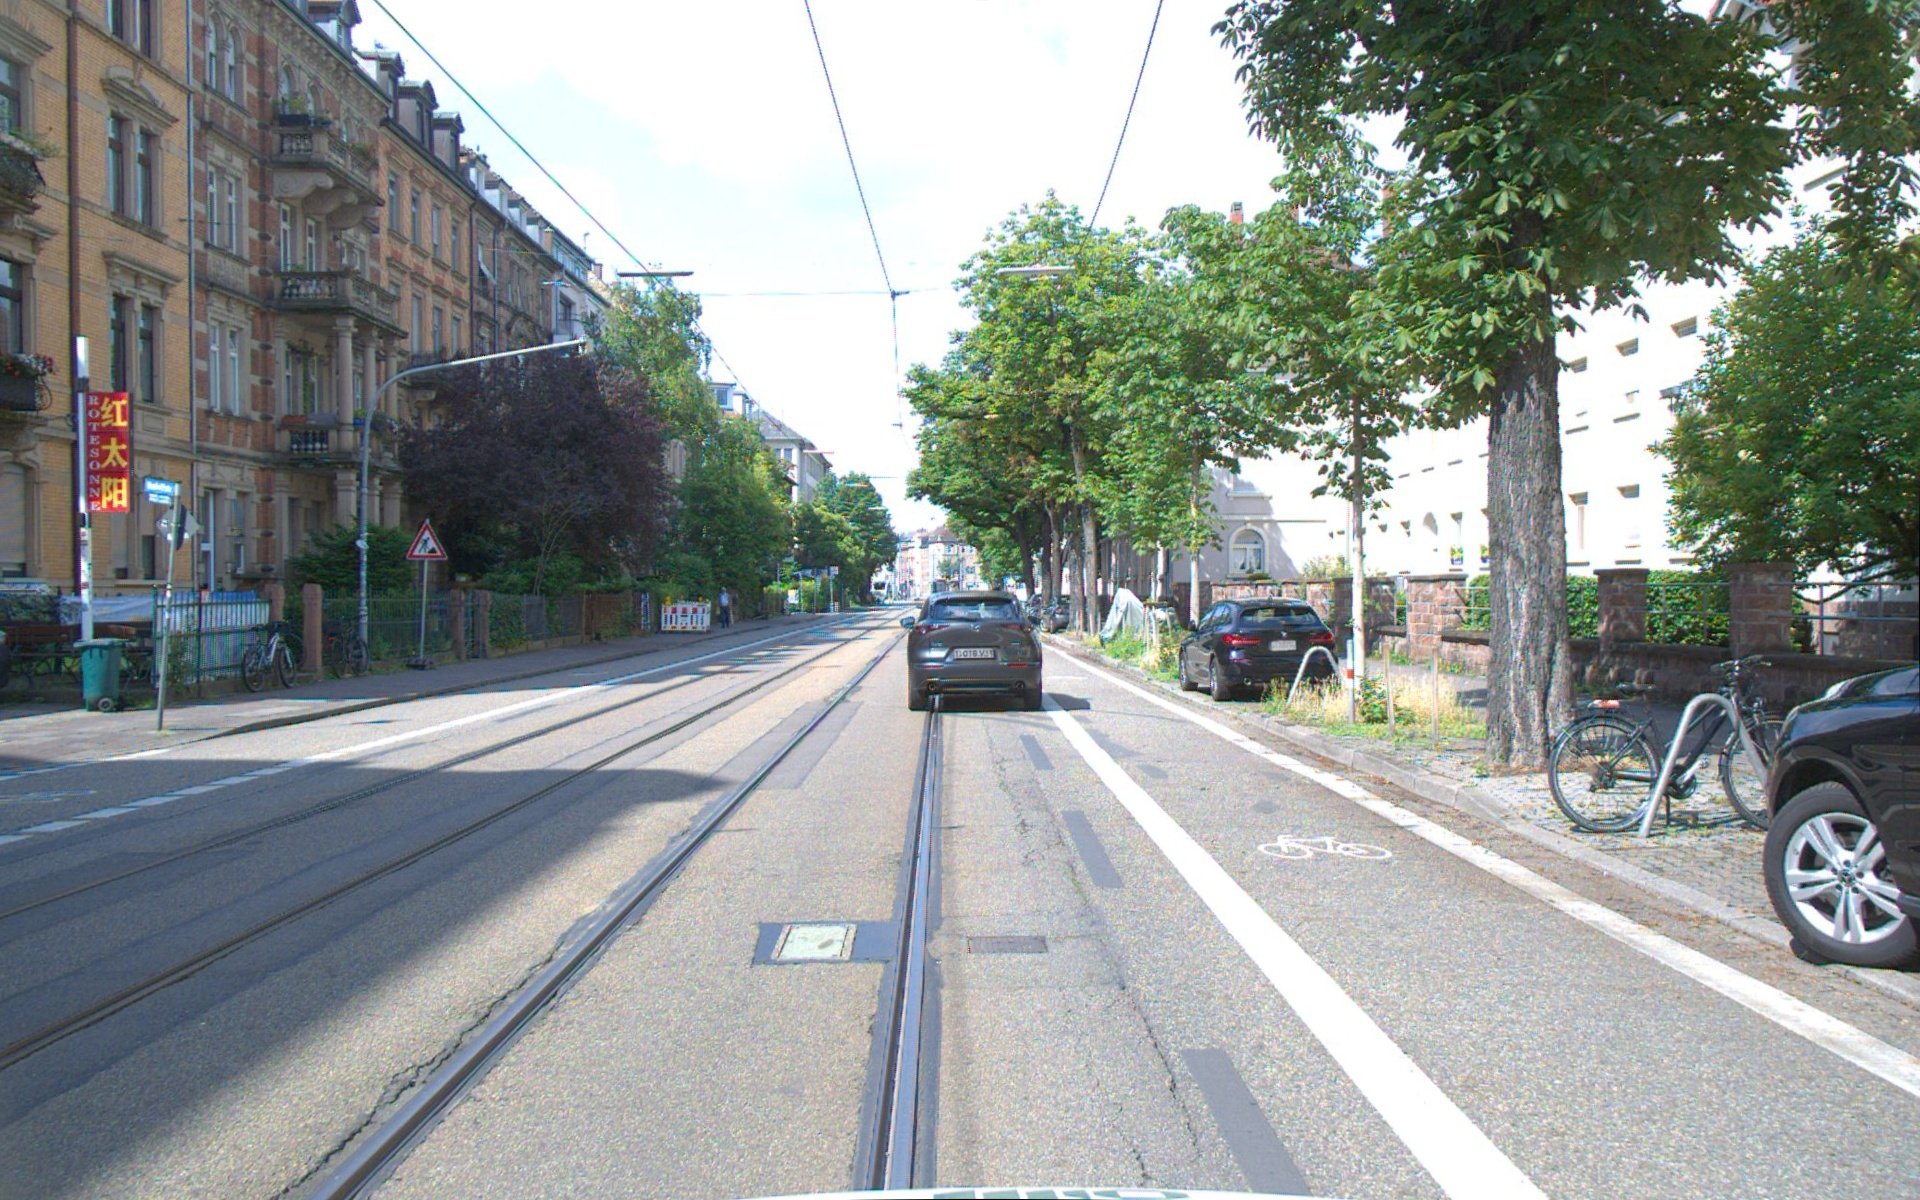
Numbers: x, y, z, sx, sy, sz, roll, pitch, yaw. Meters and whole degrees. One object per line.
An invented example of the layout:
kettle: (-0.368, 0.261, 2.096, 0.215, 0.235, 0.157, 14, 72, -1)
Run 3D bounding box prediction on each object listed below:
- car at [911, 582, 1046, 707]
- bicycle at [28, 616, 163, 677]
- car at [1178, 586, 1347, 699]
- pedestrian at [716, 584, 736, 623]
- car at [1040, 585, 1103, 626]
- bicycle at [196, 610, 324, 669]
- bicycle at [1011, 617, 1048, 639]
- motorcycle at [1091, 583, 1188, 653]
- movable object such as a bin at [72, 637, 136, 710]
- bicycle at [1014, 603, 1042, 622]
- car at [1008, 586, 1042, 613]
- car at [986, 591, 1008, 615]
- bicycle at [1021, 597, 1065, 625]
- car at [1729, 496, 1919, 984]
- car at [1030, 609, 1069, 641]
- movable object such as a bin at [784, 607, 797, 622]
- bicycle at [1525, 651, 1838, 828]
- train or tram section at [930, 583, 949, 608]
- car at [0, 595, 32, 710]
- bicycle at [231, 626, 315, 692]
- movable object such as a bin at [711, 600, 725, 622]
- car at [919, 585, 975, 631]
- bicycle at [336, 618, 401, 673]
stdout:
car: (0.207, 0.552, 22.500, 1.686, 1.553, 3.589, 0, 0, -1)
bicycle: (-14.266, 0.759, 27.317, 1.921, 0.963, 0.532, -1, 0, -1)
car: (4.429, 0.583, 24.771, 1.671, 1.505, 4.196, 2, 0, -1)
pedestrian: (-10.420, 0.144, 73.641, 0.806, 1.736, 0.891, 0, 0, -4)
car: (4.197, 0.218, 63.016, 1.810, 1.434, 4.391, -2, 0, -4)
bicycle: (-11.951, 0.668, 28.267, 1.923, 0.963, 0.531, -1, 0, -6)
bicycle: (3.573, 1.423, 84.678, 1.864, 1.091, 0.402, 0, 0, -1)
motorcycle: (4.380, 0.430, 40.474, 2.341, 1.625, 0.676, 2, 1, 38)
movable object such as a bin: (-11.363, 0.969, 21.970, 0.514, 0.921, 0.636, -1, 0, -2)
bicycle: (3.705, 0.665, 90.203, 1.460, 1.000, 0.259, -1, -1, 1)
car: (4.760, -0.037, 122.429, 1.753, 1.972, 4.984, -1, 0, -7)
car: (3.094, 0.241, 138.943, 1.685, 2.003, 4.207, 0, 0, 0)
bicycle: (3.810, 0.513, 75.936, 1.895, 1.196, 0.513, -2, -1, 11)
car: (4.472, 0.517, 5.254, 1.790, 1.813, 4.732, -1, 0, -1)
car: (4.321, 1.187, 80.669, 1.632, 1.455, 3.765, -3, 0, 0)
movable object such as a bin: (-11.338, 0.955, 110.740, 0.730, 1.005, 1.114, 2, 0, -1)
bicycle: (4.482, 0.857, 10.342, 1.673, 1.024, 0.638, -1, 0, -1)
train or tram section: (-3.238, -0.656, 257.848, 2.520, 3.838, 13.018, 0, 0, -3)
car: (-13.181, 0.688, 19.657, 1.651, 1.485, 4.764, -1, 0, -1)
bicycle: (-10.777, 0.911, 26.012, 0.519, 0.963, 1.967, -1, 0, -1)
movable object such as a bin: (-12.302, 0.578, 83.952, 0.526, 1.113, 0.790, 0, 0, 4)
car: (-0.481, 0.295, 60.507, 1.953, 1.555, 3.999, 2, 0, -1)
bicycle: (-10.915, 0.823, 30.580, 0.519, 0.963, 1.967, -1, 0, -1)
